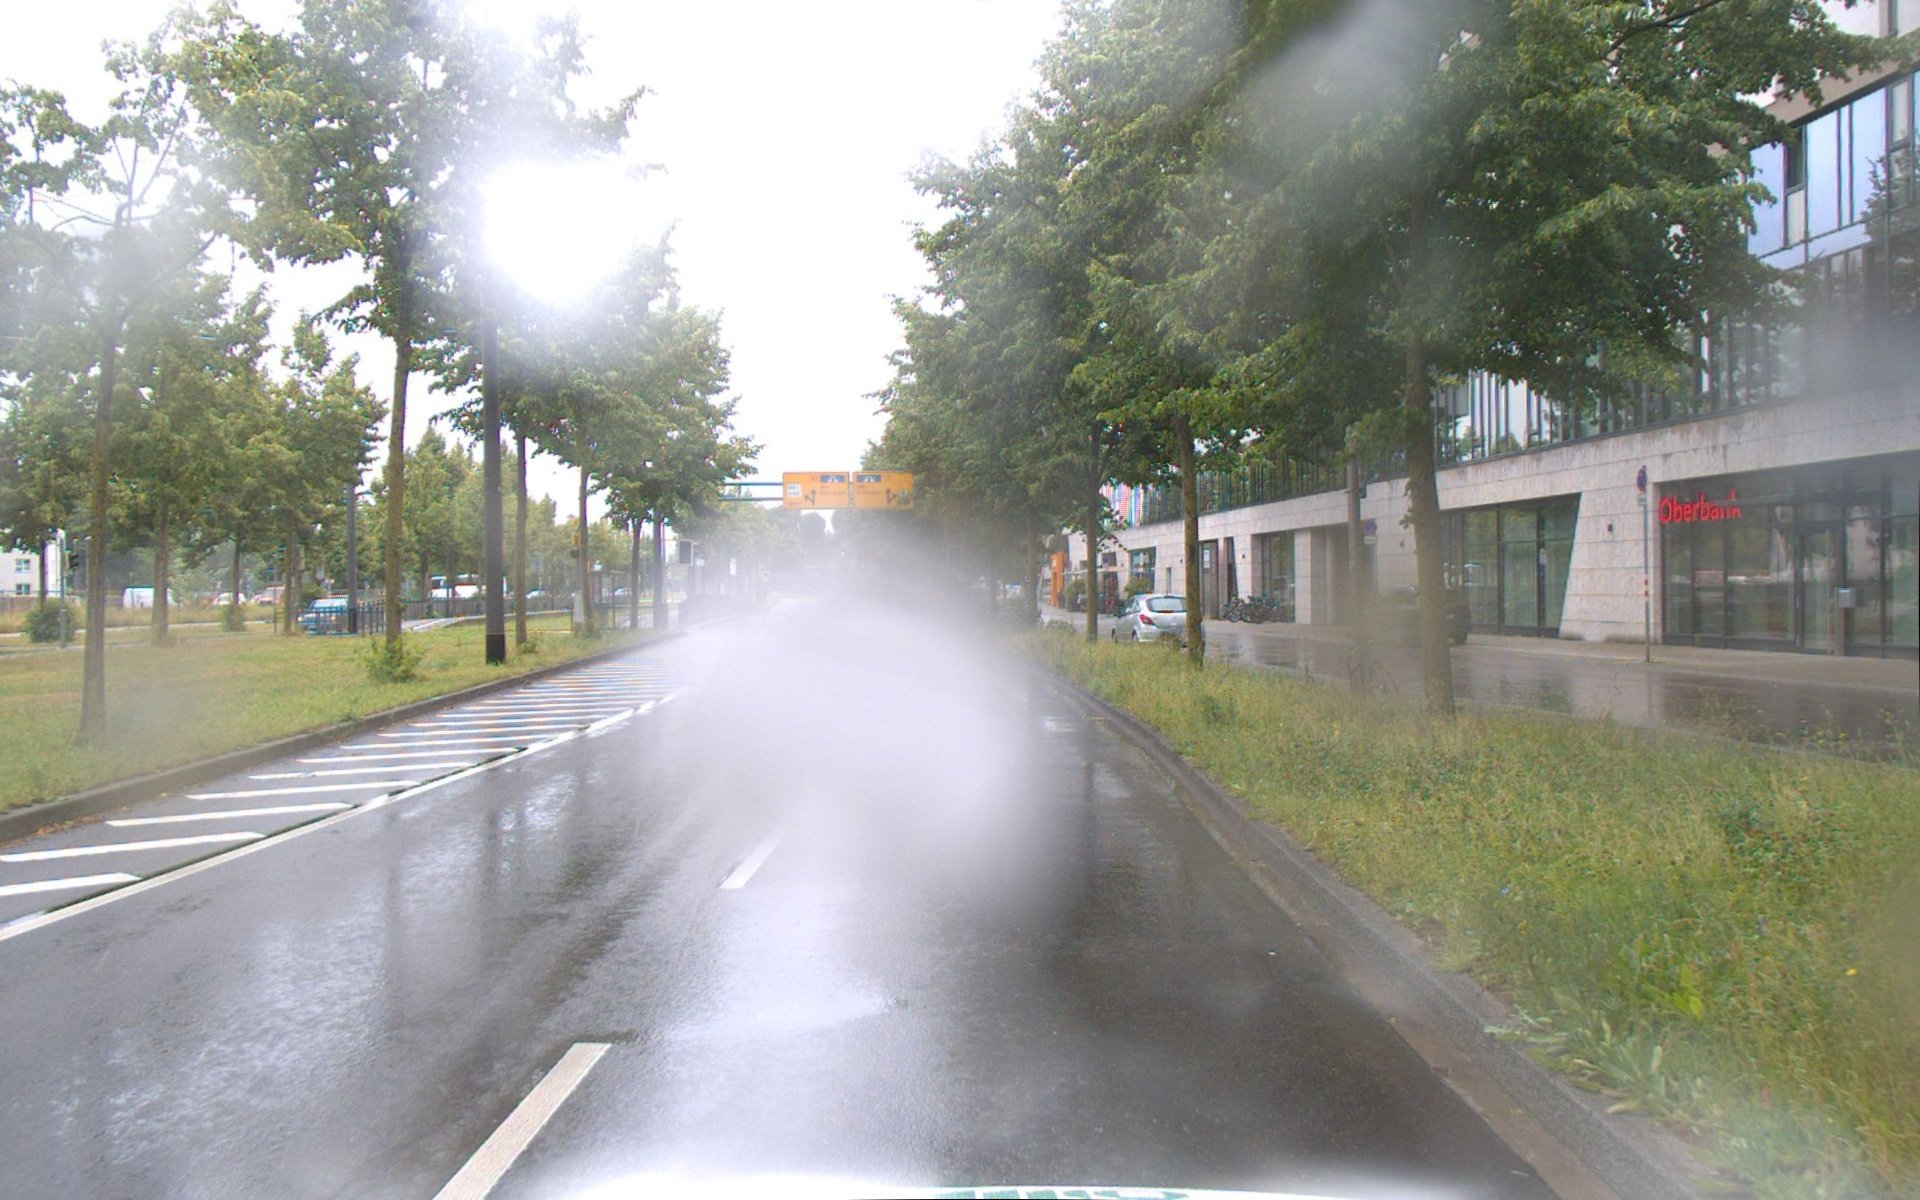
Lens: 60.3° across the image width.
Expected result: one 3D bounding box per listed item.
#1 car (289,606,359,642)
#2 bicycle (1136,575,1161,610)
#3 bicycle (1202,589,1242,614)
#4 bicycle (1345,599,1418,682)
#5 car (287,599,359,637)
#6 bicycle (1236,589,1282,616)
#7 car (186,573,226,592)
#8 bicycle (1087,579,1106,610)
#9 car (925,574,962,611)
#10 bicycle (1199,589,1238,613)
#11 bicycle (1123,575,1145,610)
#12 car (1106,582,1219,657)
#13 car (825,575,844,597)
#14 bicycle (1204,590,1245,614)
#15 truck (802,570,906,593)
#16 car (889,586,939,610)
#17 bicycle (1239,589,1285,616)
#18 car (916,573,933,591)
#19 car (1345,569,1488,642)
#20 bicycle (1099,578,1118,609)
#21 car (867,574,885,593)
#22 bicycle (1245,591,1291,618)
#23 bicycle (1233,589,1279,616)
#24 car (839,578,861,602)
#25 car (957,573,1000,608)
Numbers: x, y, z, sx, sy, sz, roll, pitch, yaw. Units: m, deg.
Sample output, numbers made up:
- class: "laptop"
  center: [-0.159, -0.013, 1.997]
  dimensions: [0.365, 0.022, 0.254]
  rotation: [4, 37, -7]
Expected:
- class: "car"
  center: [-25.661, 0.987, 66.852]
  dimensions: [1.460, 1.320, 4.967]
  rotation: [-2, -2, -8]
- class: "bicycle"
  center: [10.289, -0.431, 90.364]
  dimensions: [0.757, 1.752, 3.118]
  rotation: [-1, 3, -5]
- class: "bicycle"
  center: [11.495, 0.072, 72.621]
  dimensions: [1.660, 1.046, 0.423]
  rotation: [-1, 0, -3]
- class: "bicycle"
  center: [4.936, 0.456, 19.456]
  dimensions: [0.335, 0.836, 1.902]
  rotation: [-1, 3, -1]
- class: "car"
  center: [-25.713, 0.710, 66.929]
  dimensions: [1.519, 1.288, 4.846]
  rotation: [-1, 2, -7]
- class: "bicycle"
  center: [12.143, 0.106, 67.201]
  dimensions: [1.770, 1.046, 0.541]
  rotation: [-1, 0, -3]
- class: "car"
  center: [-75.756, -1.781, 166.155]
  dimensions: [3.492, 1.768, 1.690]
  rotation: [-2, 3, -29]
- class: "bicycle"
  center: [8.252, -0.335, 100.350]
  dimensions: [0.632, 1.752, 3.118]
  rotation: [-1, 3, -5]
- class: "car"
  center: [-1.091, -0.505, 107.699]
  dimensions: [2.080, 2.313, 4.560]
  rotation: [-1, 1, -5]
- class: "bicycle"
  center: [11.447, 0.057, 73.164]
  dimensions: [1.660, 1.046, 0.423]
  rotation: [-1, 0, -3]
- class: "bicycle"
  center: [9.508, -0.428, 90.469]
  dimensions: [0.632, 1.752, 3.118]
  rotation: [-1, 3, -5]
- class: "car"
  center: [4.889, 0.421, 40.556]
  dimensions: [1.844, 1.532, 4.721]
  rotation: [-1, 3, -5]
- class: "car"
  center: [-12.711, -1.457, 167.459]
  dimensions: [1.851, 2.048, 3.998]
  rotation: [-1, 3, -4]
- class: "bicycle"
  center: [11.516, 0.084, 72.114]
  dimensions: [1.715, 1.046, 0.412]
  rotation: [-1, 0, -3]
- class: "truck"
  center: [-15.264, -2.669, 237.979]
  dimensions: [14.594, 3.202, 3.513]
  rotation: [0, 0, -12]
- class: "car"
  center: [-3.444, -0.162, 123.723]
  dimensions: [1.802, 1.571, 3.948]
  rotation: [-3, 3, -37]
- class: "bicycle"
  center: [12.155, 0.104, 66.591]
  dimensions: [1.770, 1.046, 0.541]
  rotation: [-1, 0, -3]
- class: "car"
  center: [-4.384, -2.183, 202.509]
  dimensions: [1.954, 2.048, 3.998]
  rotation: [-1, 3, -4]
- class: "car"
  center: [11.537, 0.076, 42.181]
  dimensions: [1.954, 1.526, 5.032]
  rotation: [-5, 2, -3]
- class: "bicycle"
  center: [8.997, -0.431, 100.265]
  dimensions: [0.632, 1.752, 3.118]
  rotation: [-1, 3, -5]
- class: "car"
  center: [-9.648, -1.906, 190.293]
  dimensions: [1.953, 2.048, 4.000]
  rotation: [-1, 3, -1]
- class: "bicycle"
  center: [12.269, 0.177, 65.884]
  dimensions: [1.770, 1.046, 0.401]
  rotation: [-1, 0, -3]
- class: "bicycle"
  center: [12.117, 0.099, 67.807]
  dimensions: [1.770, 1.046, 0.541]
  rotation: [-1, 0, -3]
- class: "car"
  center: [-10.169, -0.935, 152.592]
  dimensions: [1.902, 2.048, 3.998]
  rotation: [-1, 3, -4]
- class: "car"
  center: [0.954, -0.513, 89.202]
  dimensions: [1.869, 1.822, 4.683]
  rotation: [-1, 1, -5]
